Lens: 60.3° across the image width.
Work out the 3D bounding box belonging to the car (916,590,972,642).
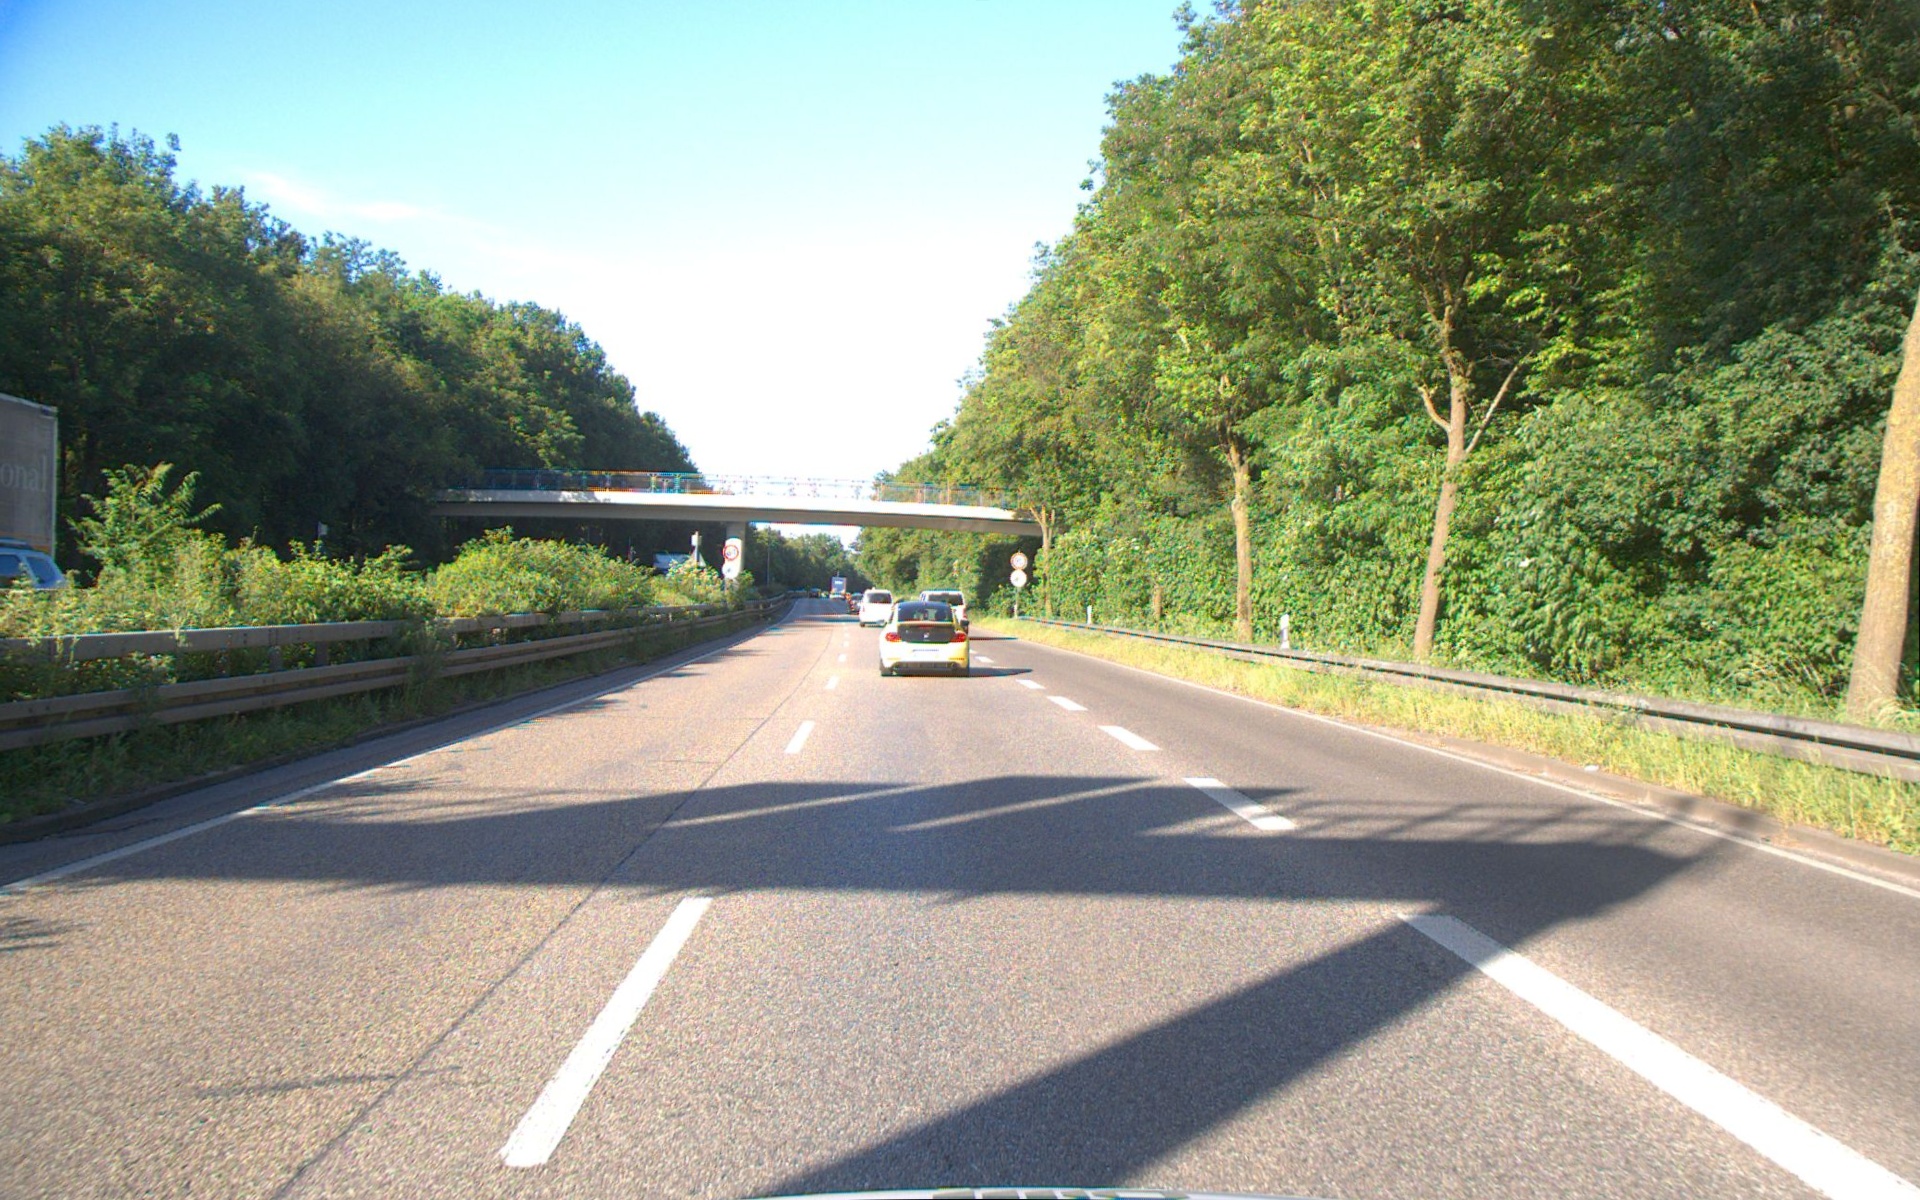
[{"bbox_3d":[-0.631,0.590,61.650,1.859,1.856,3.997,0,0,-3],"label":"car"}]

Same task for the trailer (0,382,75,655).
[{"bbox_3d":[-15.485,-1.252,19.944,2.684,4.098,14.065,2,0,-3],"label":"trailer"}]

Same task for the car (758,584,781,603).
[{"bbox_3d":[-17.501,-0.577,152.397,1.684,1.623,3.999,1,0,-1],"label":"car"}]

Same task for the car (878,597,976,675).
[{"bbox_3d":[-0.734,0.691,33.916,1.859,1.496,3.997,0,0,-3],"label":"car"}]

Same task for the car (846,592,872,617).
[{"bbox_3d":[-7.468,0.311,122.474,1.860,1.798,3.996,1,0,-4],"label":"car"}]

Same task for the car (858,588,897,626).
[{"bbox_3d":[-4.124,0.346,82.009,1.860,1.798,3.997,0,0,-4],"label":"car"}]

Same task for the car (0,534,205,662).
[{"bbox_3d":[-11.562,-0.043,21.512,1.769,1.496,3.997,2,0,-3],"label":"car"}]
